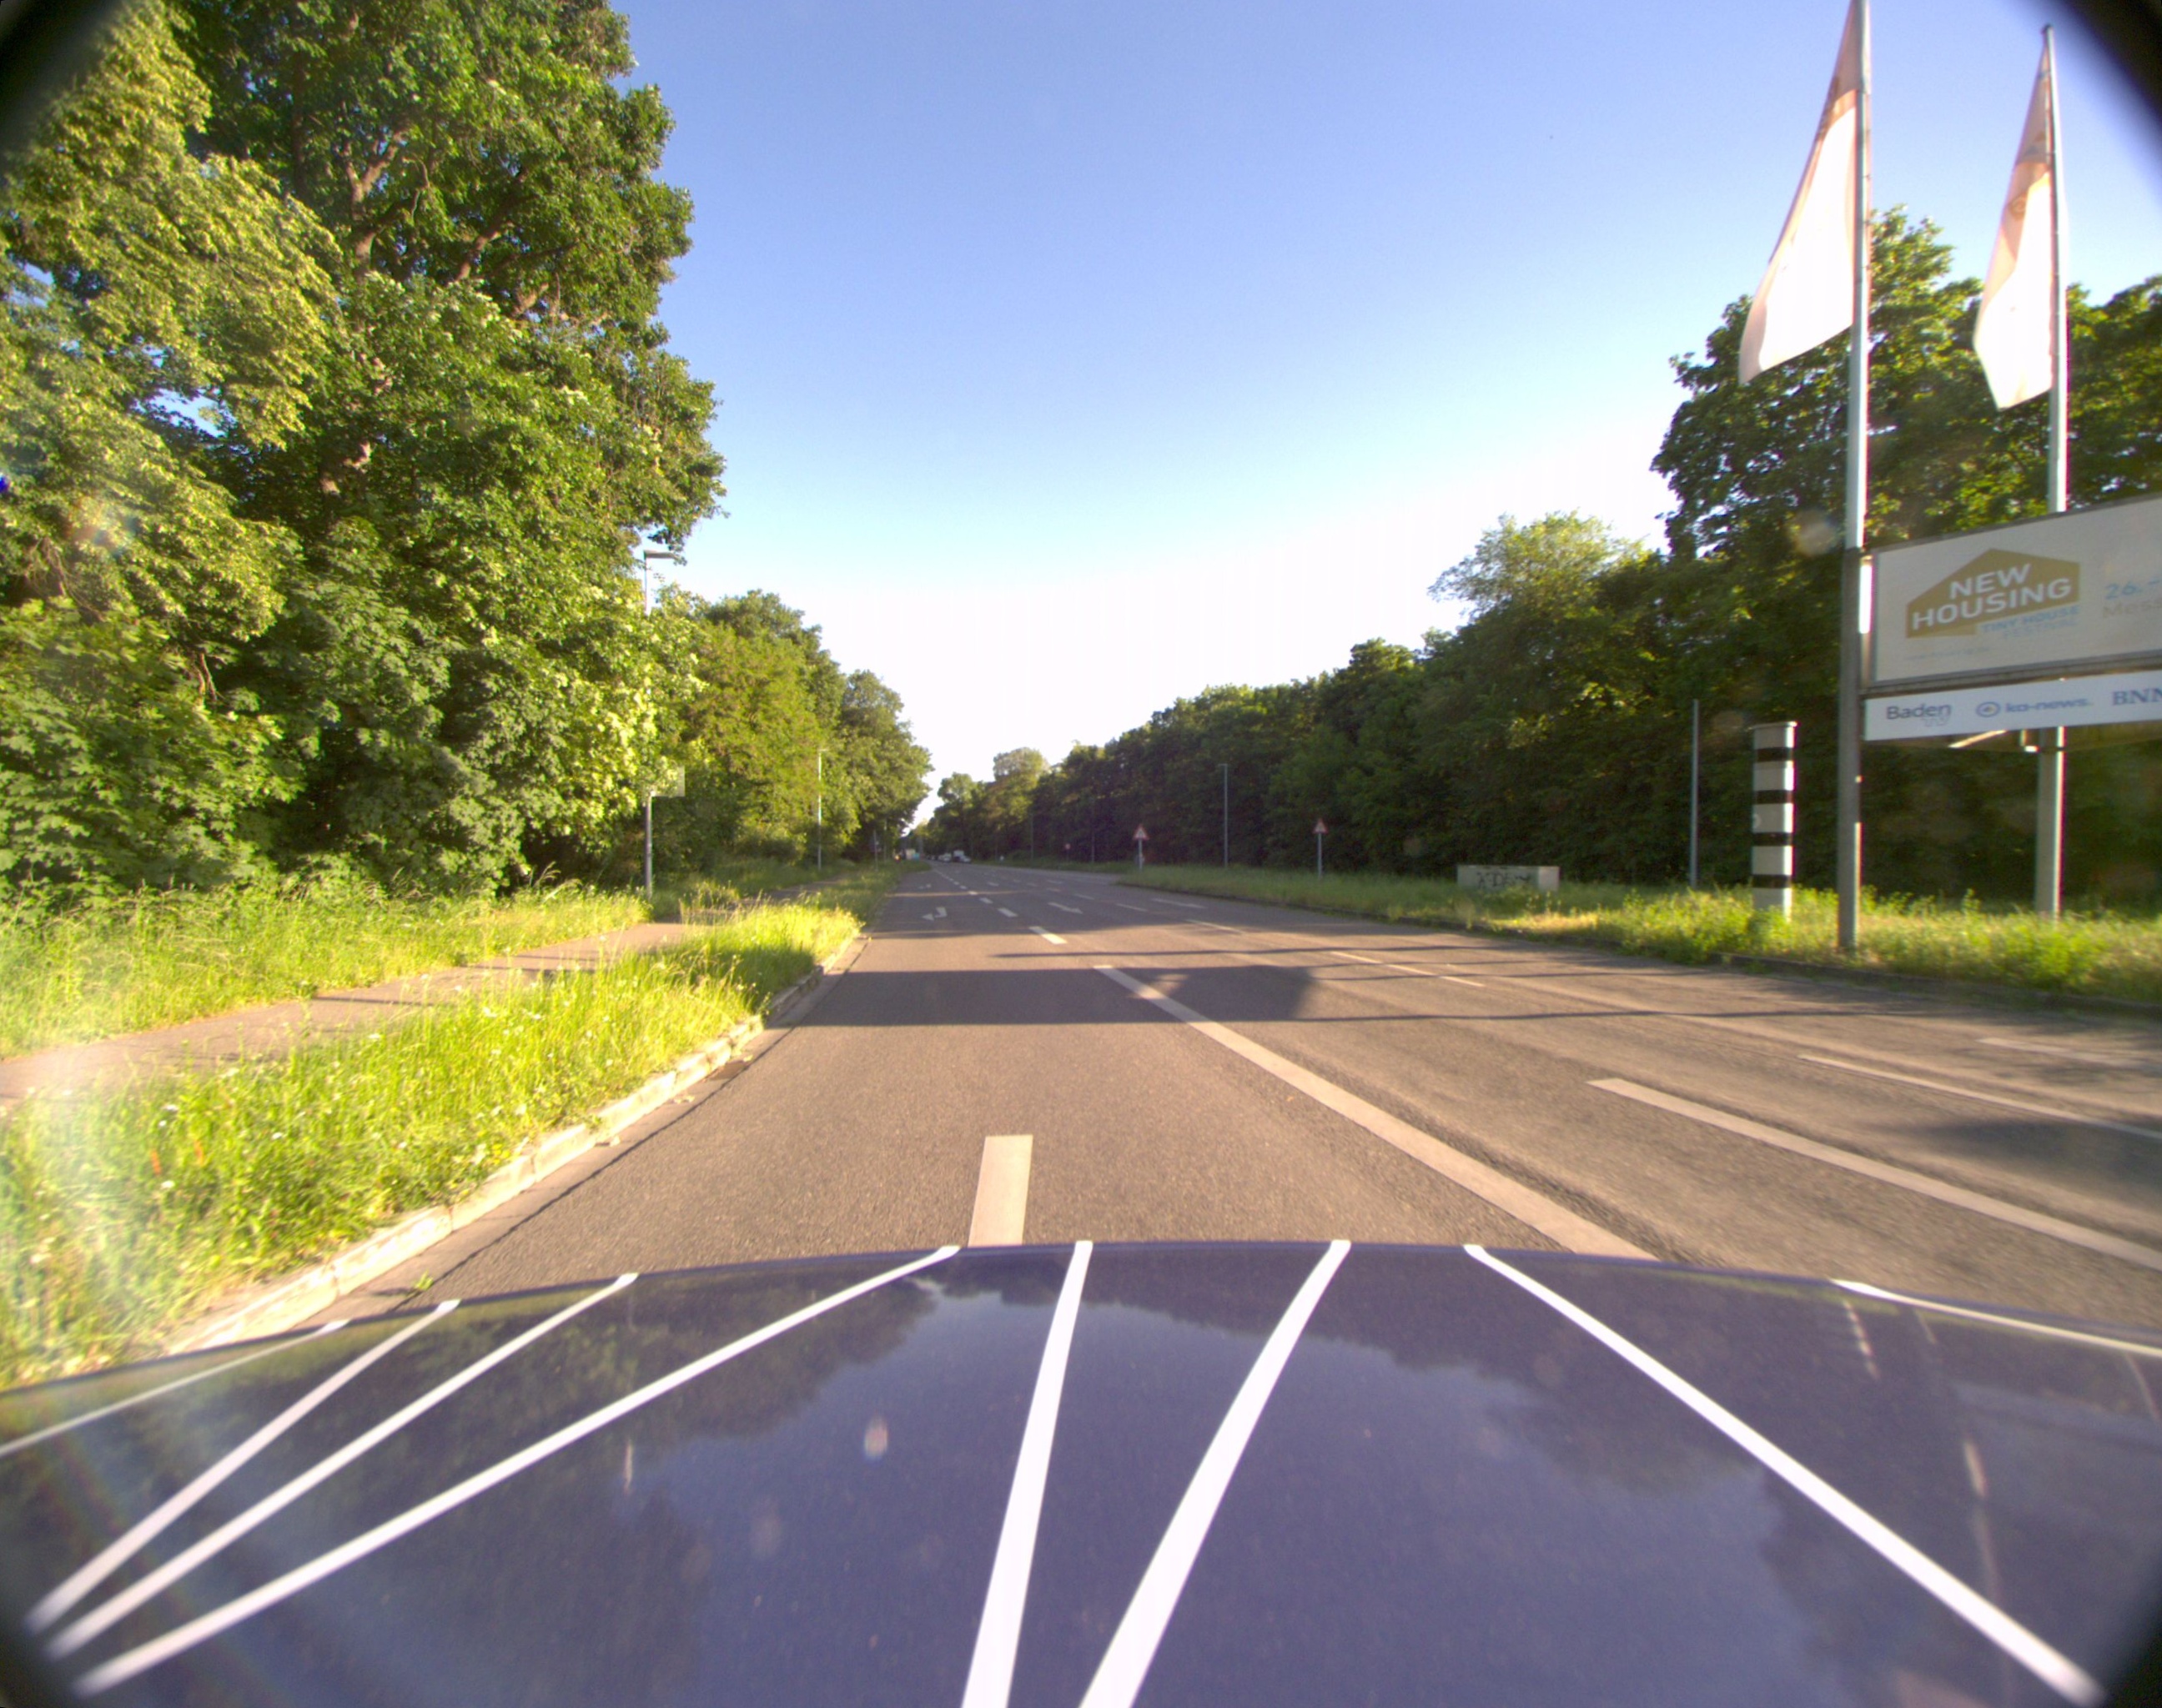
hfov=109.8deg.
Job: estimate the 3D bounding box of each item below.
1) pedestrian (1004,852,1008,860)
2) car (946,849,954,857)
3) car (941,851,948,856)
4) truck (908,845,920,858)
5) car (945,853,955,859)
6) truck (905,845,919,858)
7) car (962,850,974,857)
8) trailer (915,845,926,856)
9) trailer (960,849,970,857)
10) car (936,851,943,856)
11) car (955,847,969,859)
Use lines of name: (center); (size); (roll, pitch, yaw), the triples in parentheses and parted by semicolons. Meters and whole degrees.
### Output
pedestrian: (-14.352, 0.395, 146.085); (0.714, 1.556, 0.825); (0, 0, -12)
car: (-36.351, -0.192, 211.427); (1.694, 2.089, 4.625); (1, 0, -16)
car: (-40.166, -0.219, 223.279); (1.809, 1.496, 3.907); (1, 0, -16)
truck: (-38.215, -0.532, 173.773); (2.393, 2.855, 5.590); (-3, 1, -16)
car: (-29.317, 0.428, 169.903); (1.836, 1.447, 4.474); (0, 0, -17)
truck: (-40.823, -0.644, 183.380); (2.710, 3.218, 7.117); (1, 0, -16)
car: (-24.345, -0.091, 163.773); (1.917, 1.455, 4.006); (1, 0, -16)
trailer: (-33.168, -0.716, 156.617); (1.872, 2.165, 4.123); (-2, 1, -16)
trailer: (-25.729, -0.142, 168.263); (1.809, 1.719, 3.642); (1, 0, -16)
car: (-44.505, -0.034, 238.652); (1.809, 1.496, 3.907); (1, 0, -16)
car: (-28.276, -0.310, 180.419); (2.463, 2.830, 4.791); (1, 0, -16)
